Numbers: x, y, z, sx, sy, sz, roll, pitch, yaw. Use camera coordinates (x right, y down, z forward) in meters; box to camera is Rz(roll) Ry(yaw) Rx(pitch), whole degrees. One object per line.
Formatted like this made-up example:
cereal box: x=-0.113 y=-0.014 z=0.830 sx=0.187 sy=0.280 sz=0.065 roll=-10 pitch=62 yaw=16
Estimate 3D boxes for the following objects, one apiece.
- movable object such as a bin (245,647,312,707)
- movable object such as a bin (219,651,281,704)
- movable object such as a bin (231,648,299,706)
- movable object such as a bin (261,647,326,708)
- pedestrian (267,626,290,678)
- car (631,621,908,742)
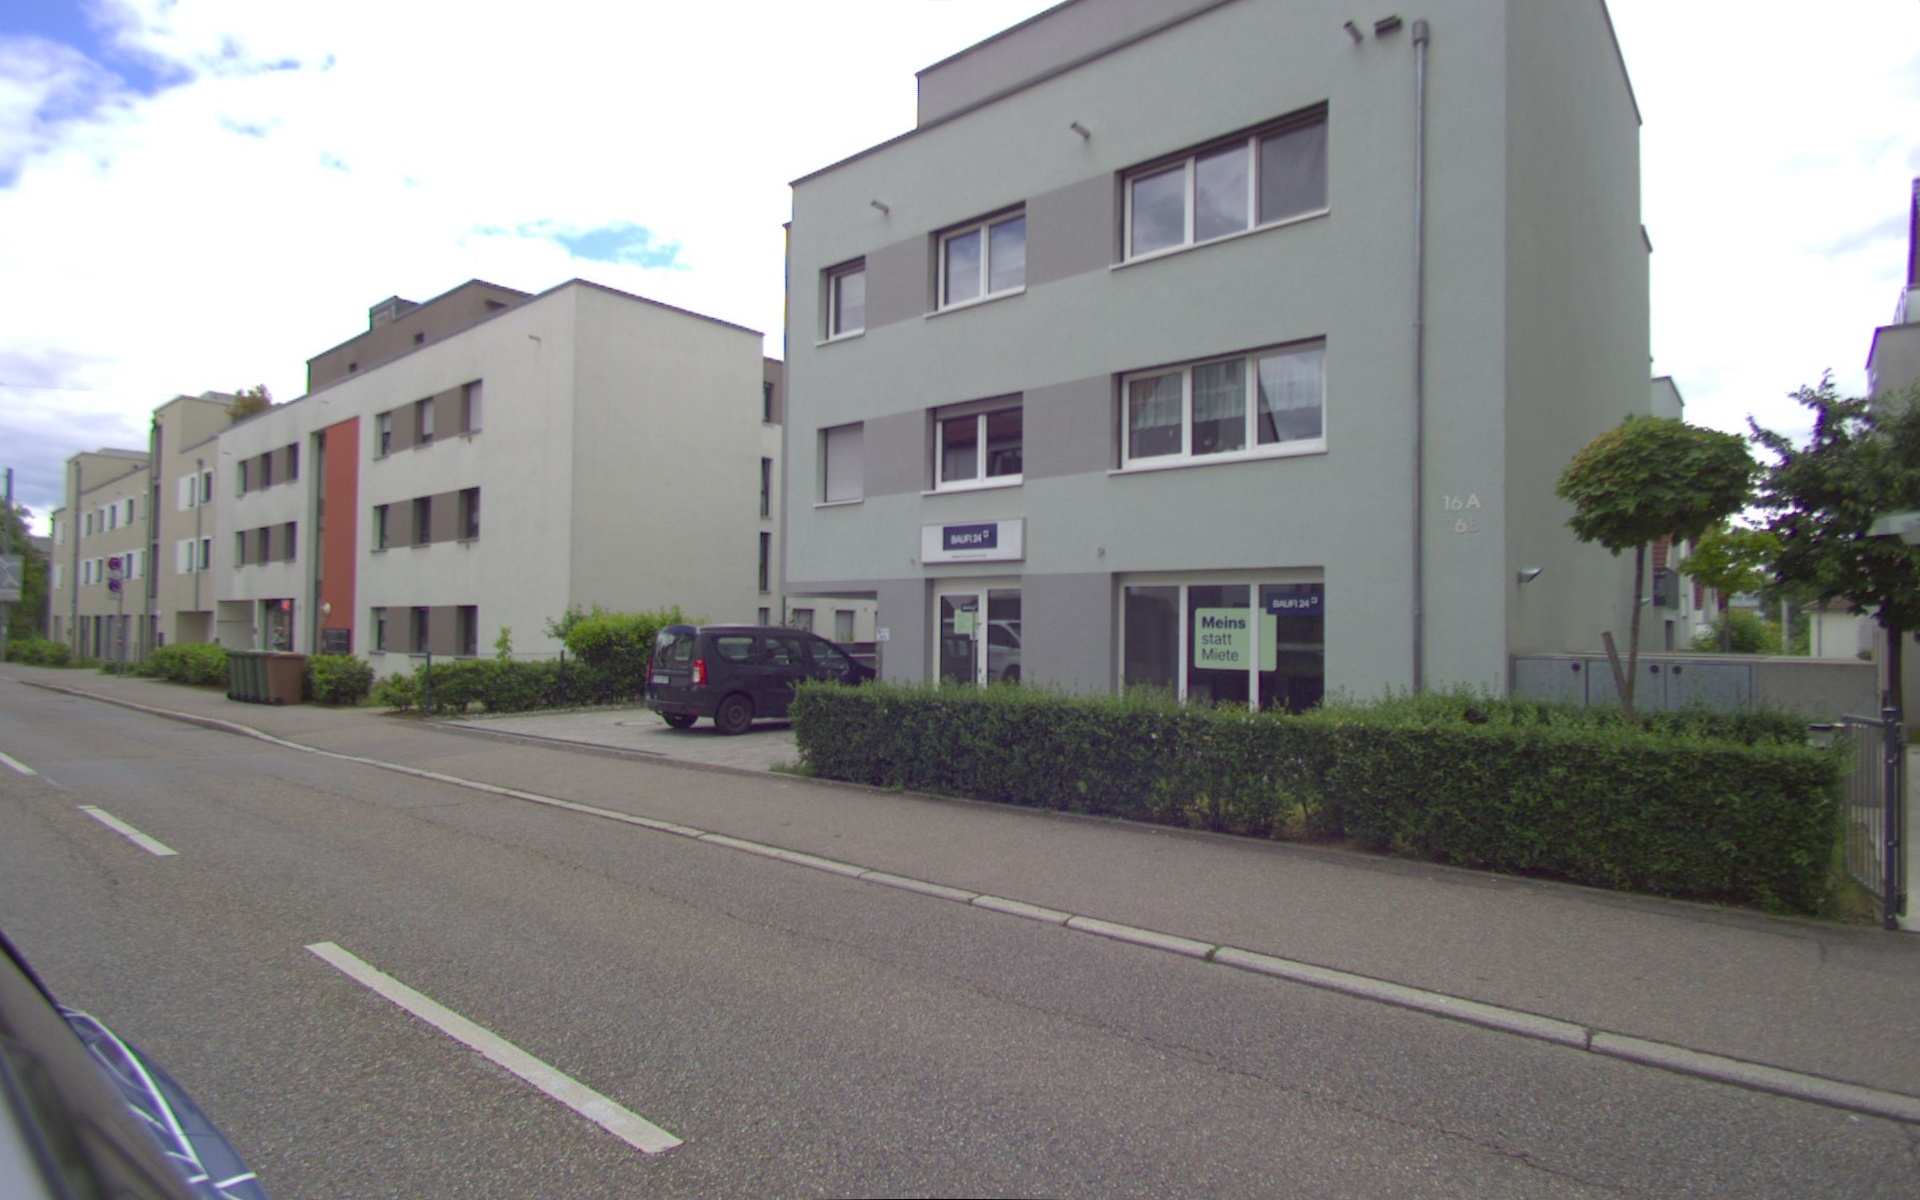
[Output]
movable object such as a bin: x=-14.000 y=1.563 z=20.796 sx=0.748 sy=1.160 sz=0.940 roll=-2 pitch=-2 yaw=36
movable object such as a bin: x=-15.324 y=1.654 z=21.849 sx=0.791 sy=1.097 sz=0.886 roll=-2 pitch=-2 yaw=36
movable object such as a bin: x=-14.647 y=1.600 z=21.326 sx=0.839 sy=1.160 sz=0.947 roll=-2 pitch=-2 yaw=36
movable object such as a bin: x=-13.422 y=1.546 z=20.384 sx=0.611 sy=1.160 sz=0.932 roll=-2 pitch=-2 yaw=36
pedestrian: x=-22.313 y=1.695 z=33.139 sx=0.511 sy=1.655 sz=0.642 roll=1 pitch=-2 yaw=-25
car: x=-2.923 y=1.198 z=16.176 sx=1.725 sy=1.680 sz=4.116 roll=-1 pitch=-2 yaw=44
